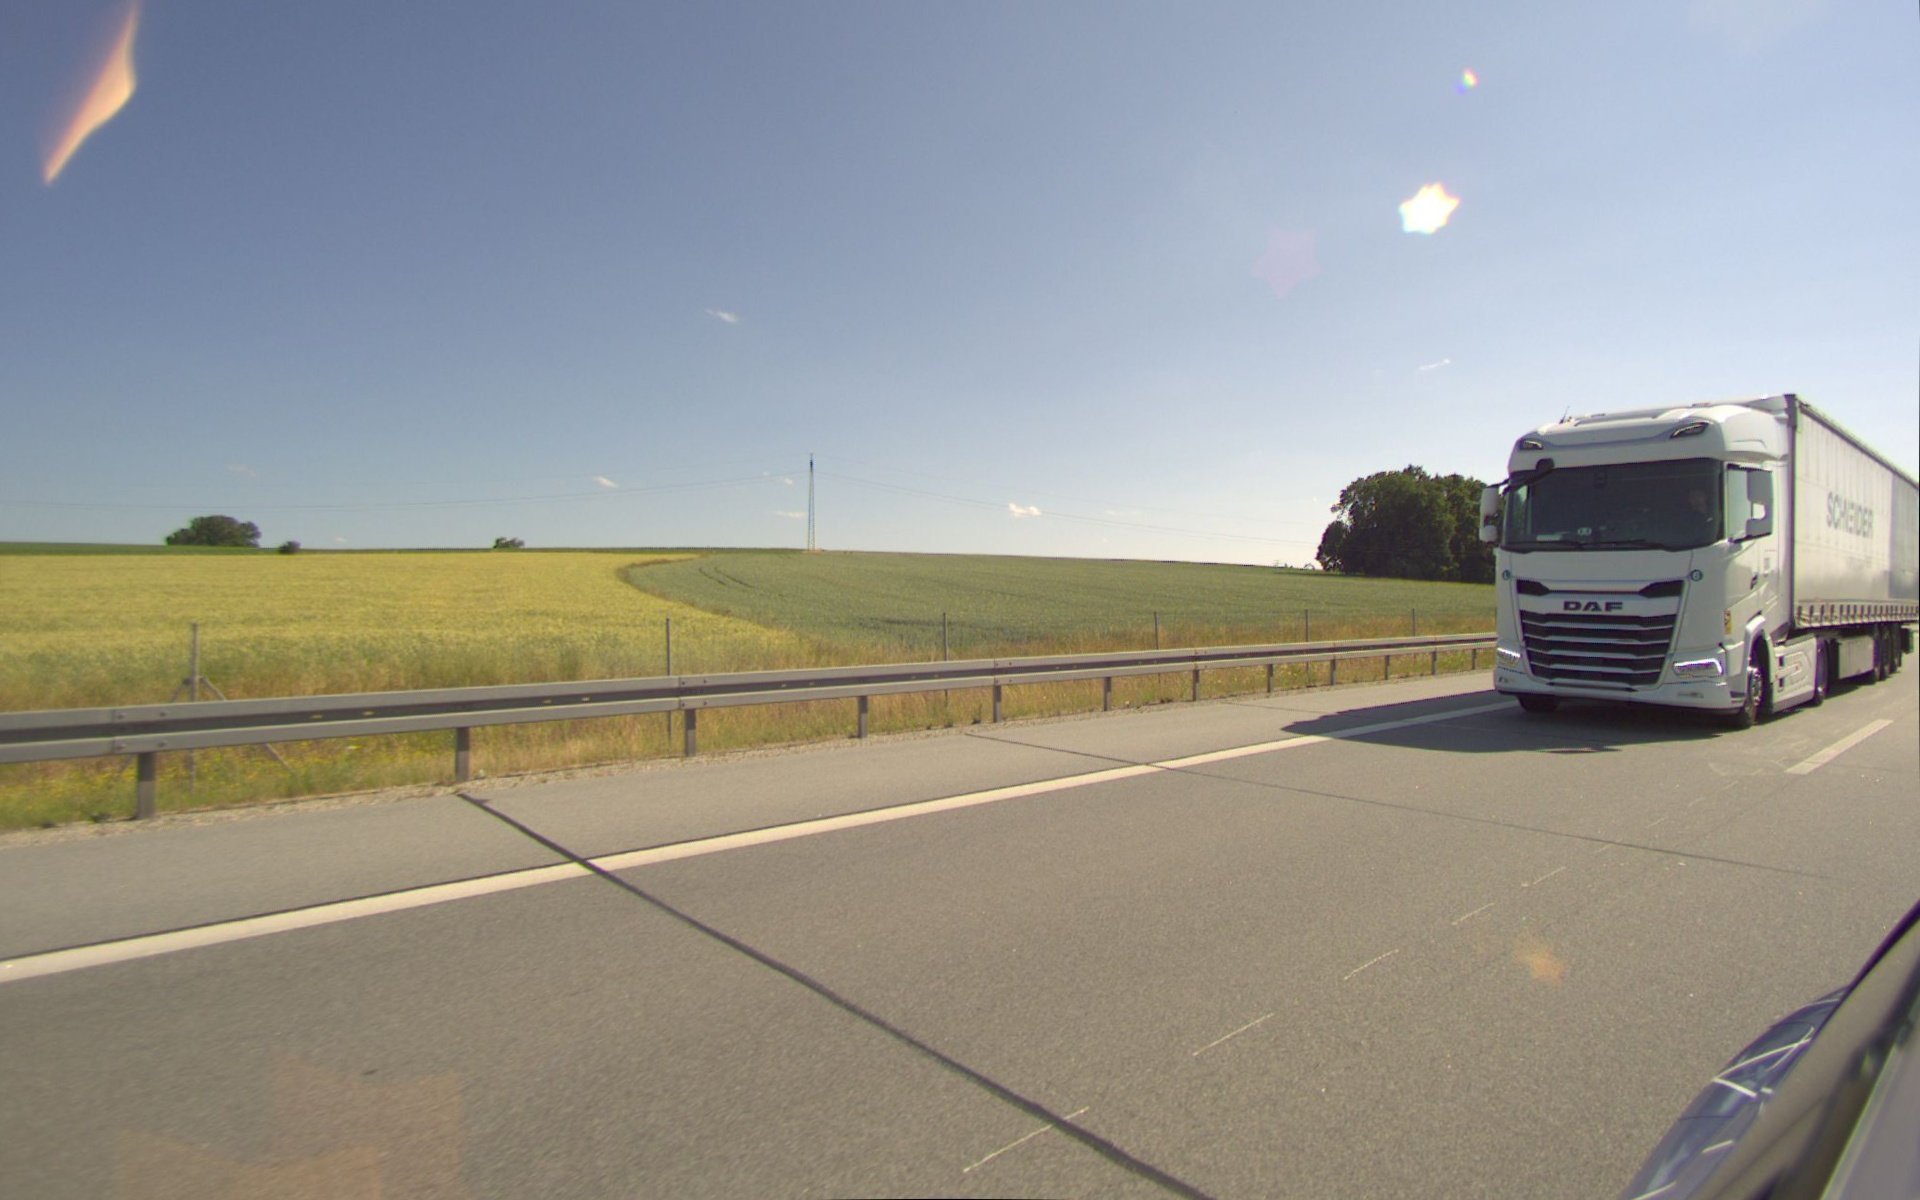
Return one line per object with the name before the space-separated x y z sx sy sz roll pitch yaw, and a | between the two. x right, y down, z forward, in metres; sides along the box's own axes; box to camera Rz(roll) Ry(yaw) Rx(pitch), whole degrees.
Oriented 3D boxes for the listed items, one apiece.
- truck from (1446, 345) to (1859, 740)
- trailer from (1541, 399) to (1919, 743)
truck | 9.447 -0.601 13.572 6.080 4.065 3.088 0 0 -41
trailer | 15.528 -0.431 18.995 15.189 4.348 3.182 0 1 -41
